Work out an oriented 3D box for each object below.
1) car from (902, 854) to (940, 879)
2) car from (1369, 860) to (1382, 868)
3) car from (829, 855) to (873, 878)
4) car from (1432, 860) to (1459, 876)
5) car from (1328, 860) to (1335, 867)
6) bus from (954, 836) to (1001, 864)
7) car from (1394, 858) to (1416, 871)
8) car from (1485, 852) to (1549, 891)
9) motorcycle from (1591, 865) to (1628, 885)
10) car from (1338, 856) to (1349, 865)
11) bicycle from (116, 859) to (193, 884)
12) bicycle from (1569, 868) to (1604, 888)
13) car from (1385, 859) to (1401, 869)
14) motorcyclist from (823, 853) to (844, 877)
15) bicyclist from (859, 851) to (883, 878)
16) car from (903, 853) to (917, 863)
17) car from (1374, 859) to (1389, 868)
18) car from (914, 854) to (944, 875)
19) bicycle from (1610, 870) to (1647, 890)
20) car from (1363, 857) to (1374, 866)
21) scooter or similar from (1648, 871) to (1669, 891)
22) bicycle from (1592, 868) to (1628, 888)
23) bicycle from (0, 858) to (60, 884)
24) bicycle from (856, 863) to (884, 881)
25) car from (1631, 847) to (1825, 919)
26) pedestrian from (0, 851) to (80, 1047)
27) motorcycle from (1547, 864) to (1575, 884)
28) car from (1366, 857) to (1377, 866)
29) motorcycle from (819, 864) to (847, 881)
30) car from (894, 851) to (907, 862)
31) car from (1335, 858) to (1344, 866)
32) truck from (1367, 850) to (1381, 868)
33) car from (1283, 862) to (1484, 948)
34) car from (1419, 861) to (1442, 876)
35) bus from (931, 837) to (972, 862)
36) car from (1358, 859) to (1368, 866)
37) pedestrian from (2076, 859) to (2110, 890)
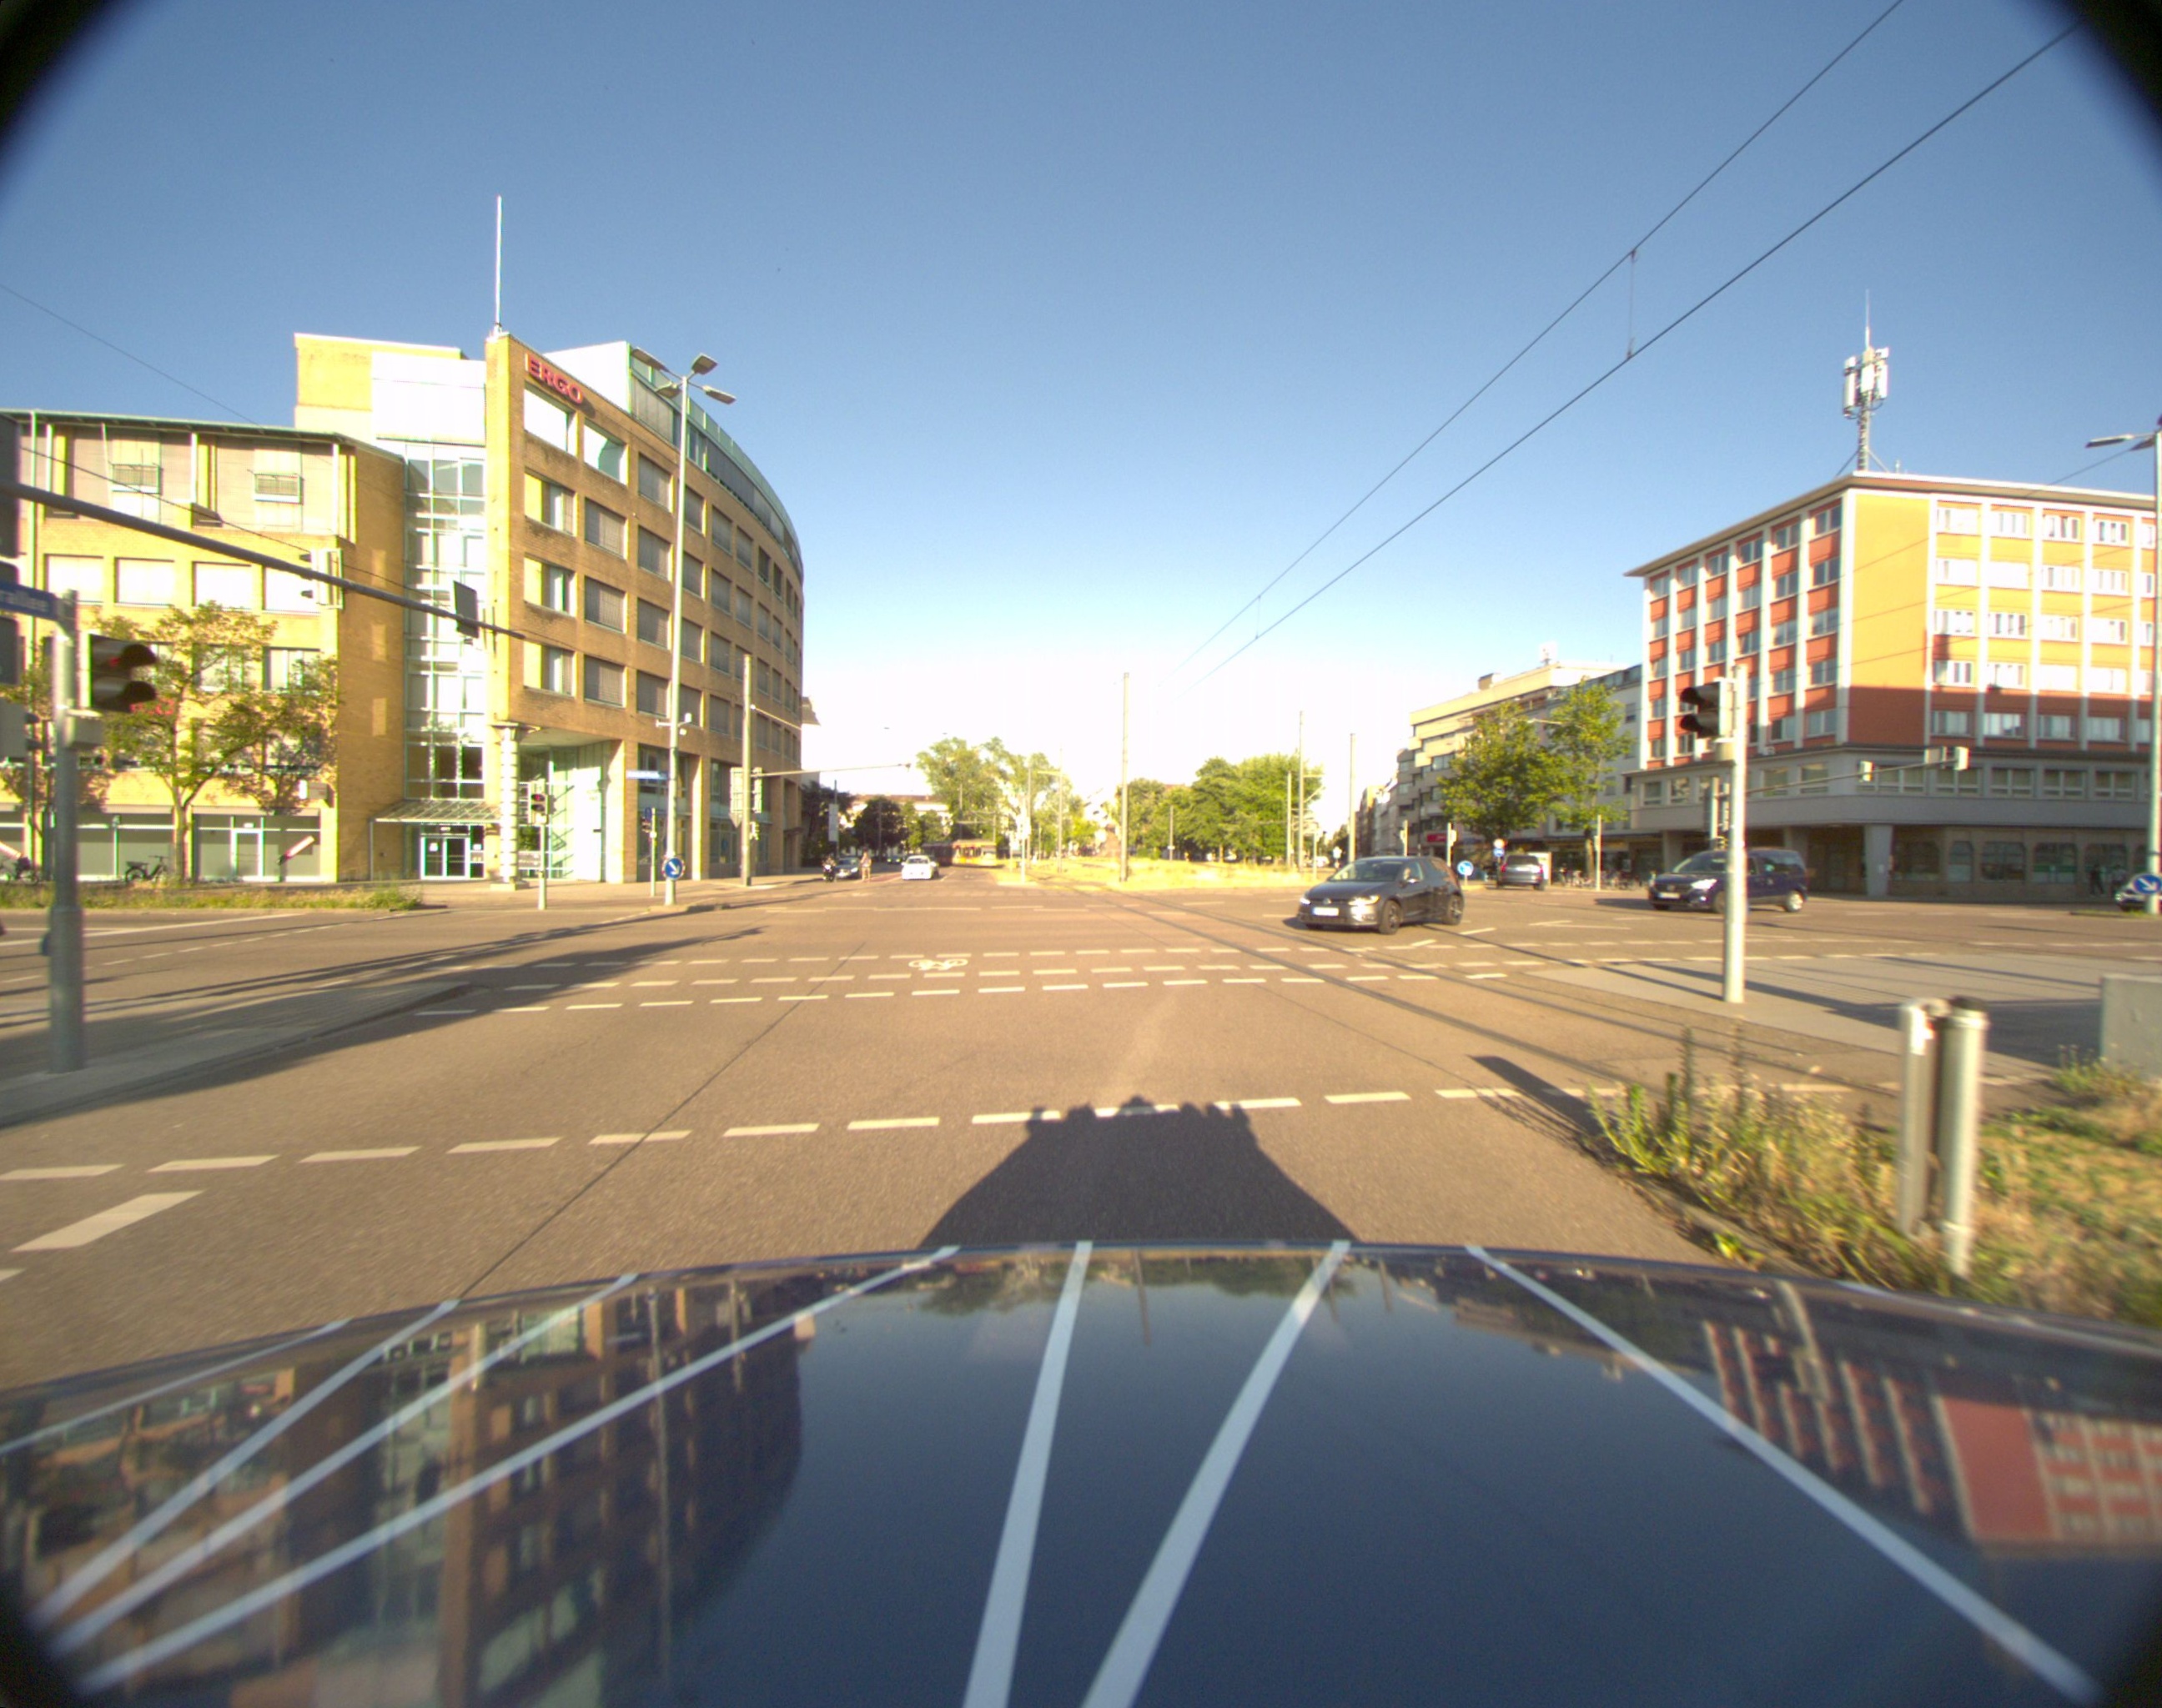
[{"bbox_3d":[-9.981,0.739,47.576,1.995,1.483,4.173,0,0,-8],"label":"car"},{"bbox_3d":[51.512,1.728,132.784,1.737,1.376,3.628,1,0,15],"label":"car"},{"bbox_3d":[-15.475,0.812,51.371,1.985,1.528,4.494,0,0,-5],"label":"car"},{"bbox_3d":[34.181,1.337,71.392,1.638,1.419,3.640,1,0,15],"label":"car"},{"bbox_3d":[69.051,2.571,209.377,1.646,1.803,3.493,1,0,15],"label":"car"},{"bbox_3d":[-12.811,-0.481,93.110,2.414,3.191,11.093,0,0,-26],"label":"bus"},{"bbox_3d":[40.915,1.307,95.926,1.960,1.547,3.878,1,0,15],"label":"car"},{"bbox_3d":[21.405,0.801,37.530,1.995,1.713,5.038,0,1,21],"label":"car"},{"bbox_3d":[35.601,1.414,51.194,2.268,1.384,0.843,1,-1,-18],"label":"motorcycle"},{"bbox_3d":[51.209,1.241,148.276,1.646,1.803,3.493,1,0,15],"label":"car"},{"bbox_3d":[-37.105,0.705,30.461,2.080,0.989,0.648,0,0,-7],"label":"bicycle"},{"bbox_3d":[31.538,1.481,47.441,0.594,1.109,1.976,1,2,-8],"label":"bicycle"},{"bbox_3d":[43.745,1.417,106.578,1.737,1.376,3.395,1,0,15],"label":"car"},{"bbox_3d":[-14.832,0.656,45.527,1.032,1.427,1.068,0,0,-7],"label":"motorcyclist"},{"bbox_3d":[-12.224,0.588,44.272,1.154,1.562,1.226,0,1,-8],"label":"bicyclist"},{"bbox_3d":[-31.547,0.742,140.147,1.844,1.807,3.998,0,0,-5],"label":"car"},{"bbox_3d":[47.368,1.444,119.824,1.737,1.376,3.628,1,0,15],"label":"car"},{"bbox_3d":[-10.883,0.727,54.548,1.820,1.483,4.062,0,0,-7],"label":"car"},{"bbox_3d":[34.430,1.636,47.829,0.594,1.108,2.059,1,2,-9],"label":"bicycle"},{"bbox_3d":[57.968,1.507,153.212,1.767,1.692,3.584,1,0,15],"label":"car"},{"bbox_3d":[37.914,1.768,49.871,0.484,1.228,1.563,1,2,13],"label":"scooter or similar"},{"bbox_3d":[33.177,1.520,47.653,0.594,1.108,2.005,1,2,-8],"label":"bicycle"},{"bbox_3d":[-41.816,0.662,29.919,2.080,0.989,0.648,0,0,-7],"label":"bicycle"},{"bbox_3d":[-12.233,1.030,44.230,1.154,0.995,2.967,0,0,-7],"label":"bicycle"},{"bbox_3d":[18.026,0.778,21.220,4.469,1.843,1.893,1,2,-16],"label":"car"},{"bbox_3d":[-10.063,0.841,6.844,0.968,1.729,0.812,0,0,-5],"label":"pedestrian"},{"bbox_3d":[33.575,1.404,53.164,0.889,1.300,2.058,0,1,9],"label":"motorcycle"},{"bbox_3d":[56.111,1.367,146.790,1.767,1.692,3.584,1,0,15],"label":"car"},{"bbox_3d":[-14.833,1.090,45.518,1.032,0.958,2.725,0,0,-7],"label":"motorcycle"},{"bbox_3d":[-29.530,0.441,124.459,1.845,1.807,3.997,0,0,-8],"label":"car"},{"bbox_3d":[59.596,1.863,175.324,1.646,1.803,3.493,1,0,15],"label":"car"},{"bbox_3d":[53.996,0.953,140.140,1.737,3.201,6.415,1,0,15],"label":"truck"},{"bbox_3d":[6.181,0.917,15.350,4.277,1.450,1.767,-1,0,-36],"label":"car"},{"bbox_3d":[37.652,1.510,81.811,1.638,1.537,3.640,1,0,15],"label":"car"},{"bbox_3d":[-17.718,-0.559,103.046,2.356,3.191,11.055,0,0,-27],"label":"bus"},{"bbox_3d":[65.329,1.913,176.193,1.803,1.586,3.682,1,0,15],"label":"car"},{"bbox_3d":[56.925,1.137,42.738,1.011,1.716,0.668,1,1,-4],"label":"pedestrian"}]
